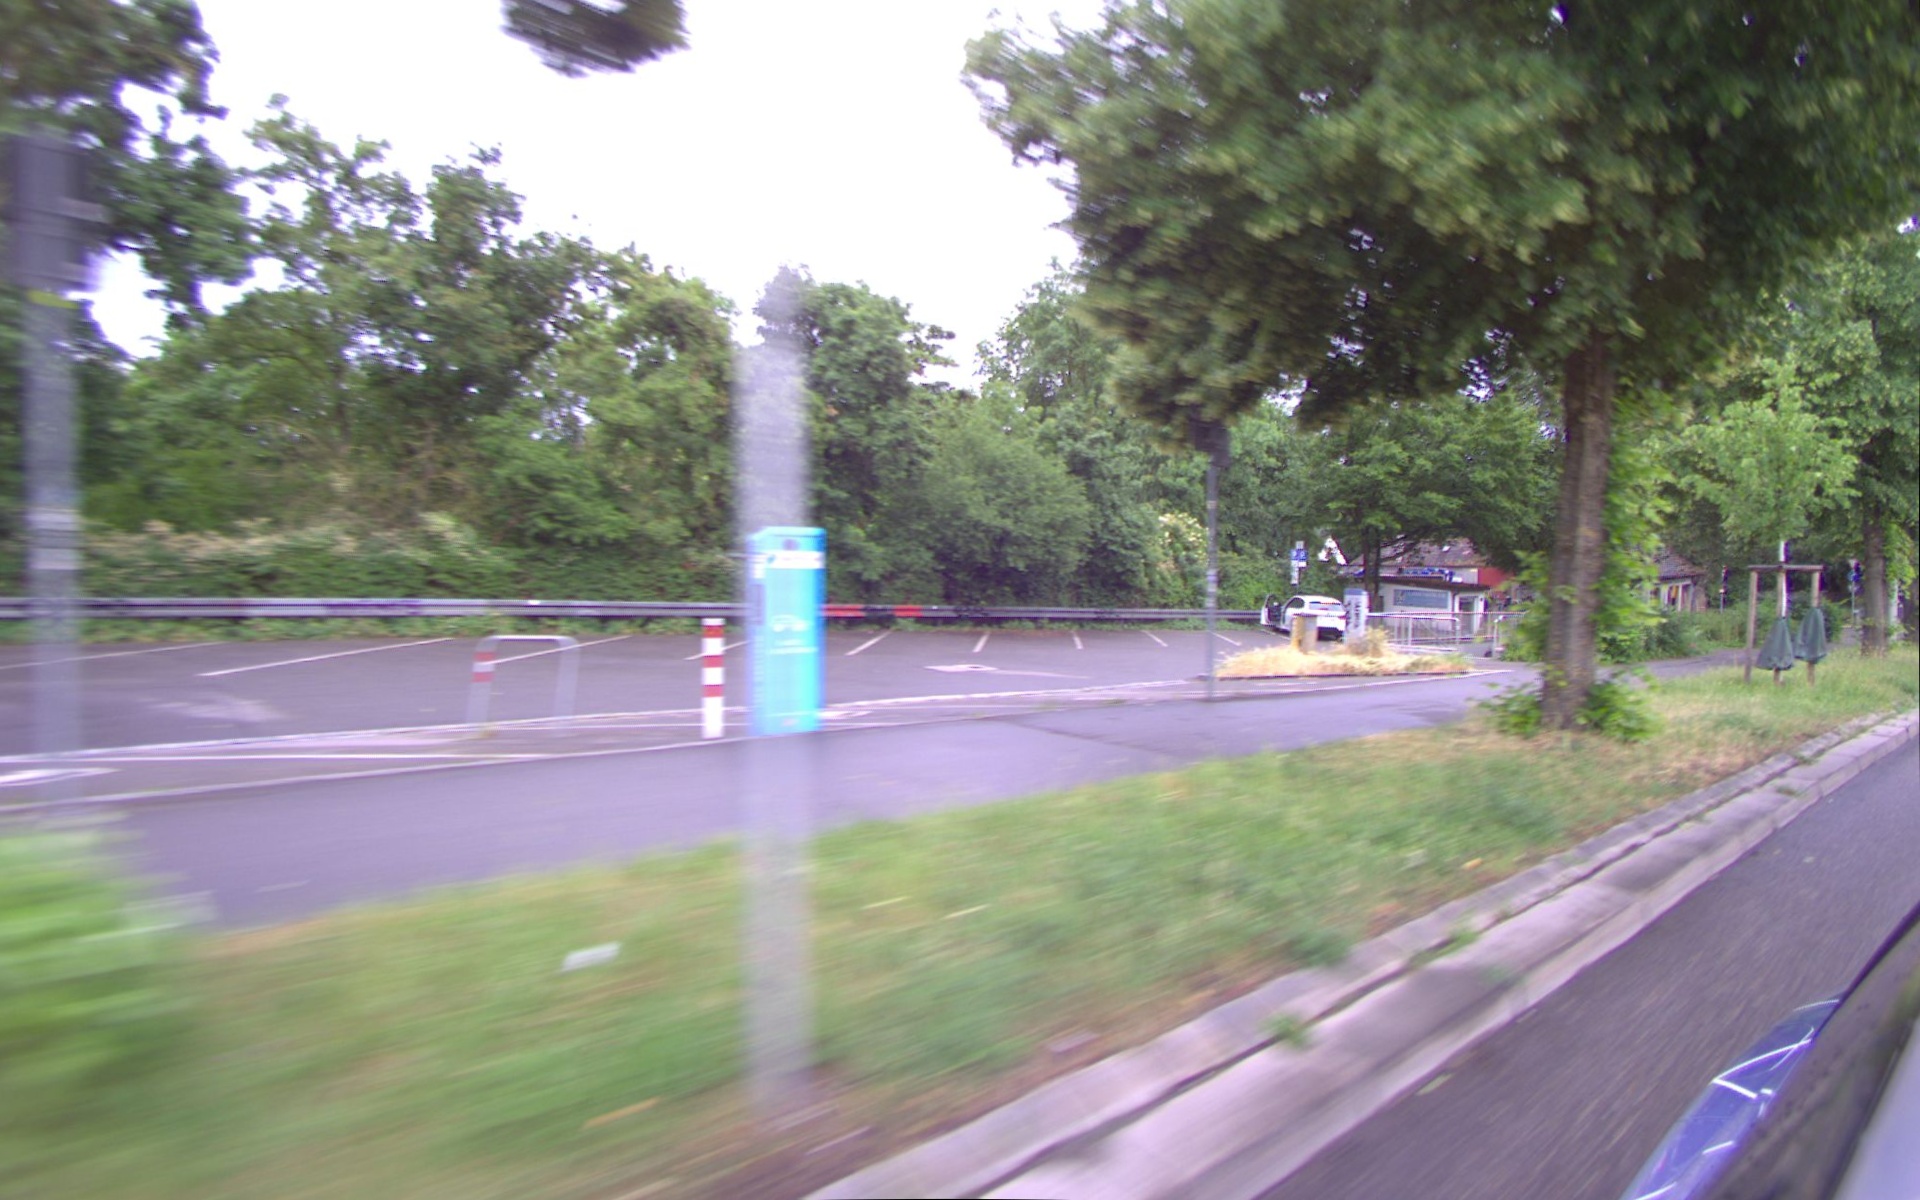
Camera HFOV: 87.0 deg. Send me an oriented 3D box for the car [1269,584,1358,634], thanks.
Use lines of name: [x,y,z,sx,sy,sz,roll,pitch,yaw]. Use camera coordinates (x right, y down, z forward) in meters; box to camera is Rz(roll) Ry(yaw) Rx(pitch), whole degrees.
car: [12.372,0.261,35.738,1.966,1.599,4.642,1,1,7]

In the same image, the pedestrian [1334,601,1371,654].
pedestrian: [13.880,0.962,35.809,0.881,1.792,0.942,3,2,7]

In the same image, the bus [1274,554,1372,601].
bus: [22.656,-1.354,62.986,7.036,2.734,2.258,1,1,-38]

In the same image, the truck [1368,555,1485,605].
truck: [29.166,-1.220,63.338,6.470,2.903,2.063,1,1,-9]
